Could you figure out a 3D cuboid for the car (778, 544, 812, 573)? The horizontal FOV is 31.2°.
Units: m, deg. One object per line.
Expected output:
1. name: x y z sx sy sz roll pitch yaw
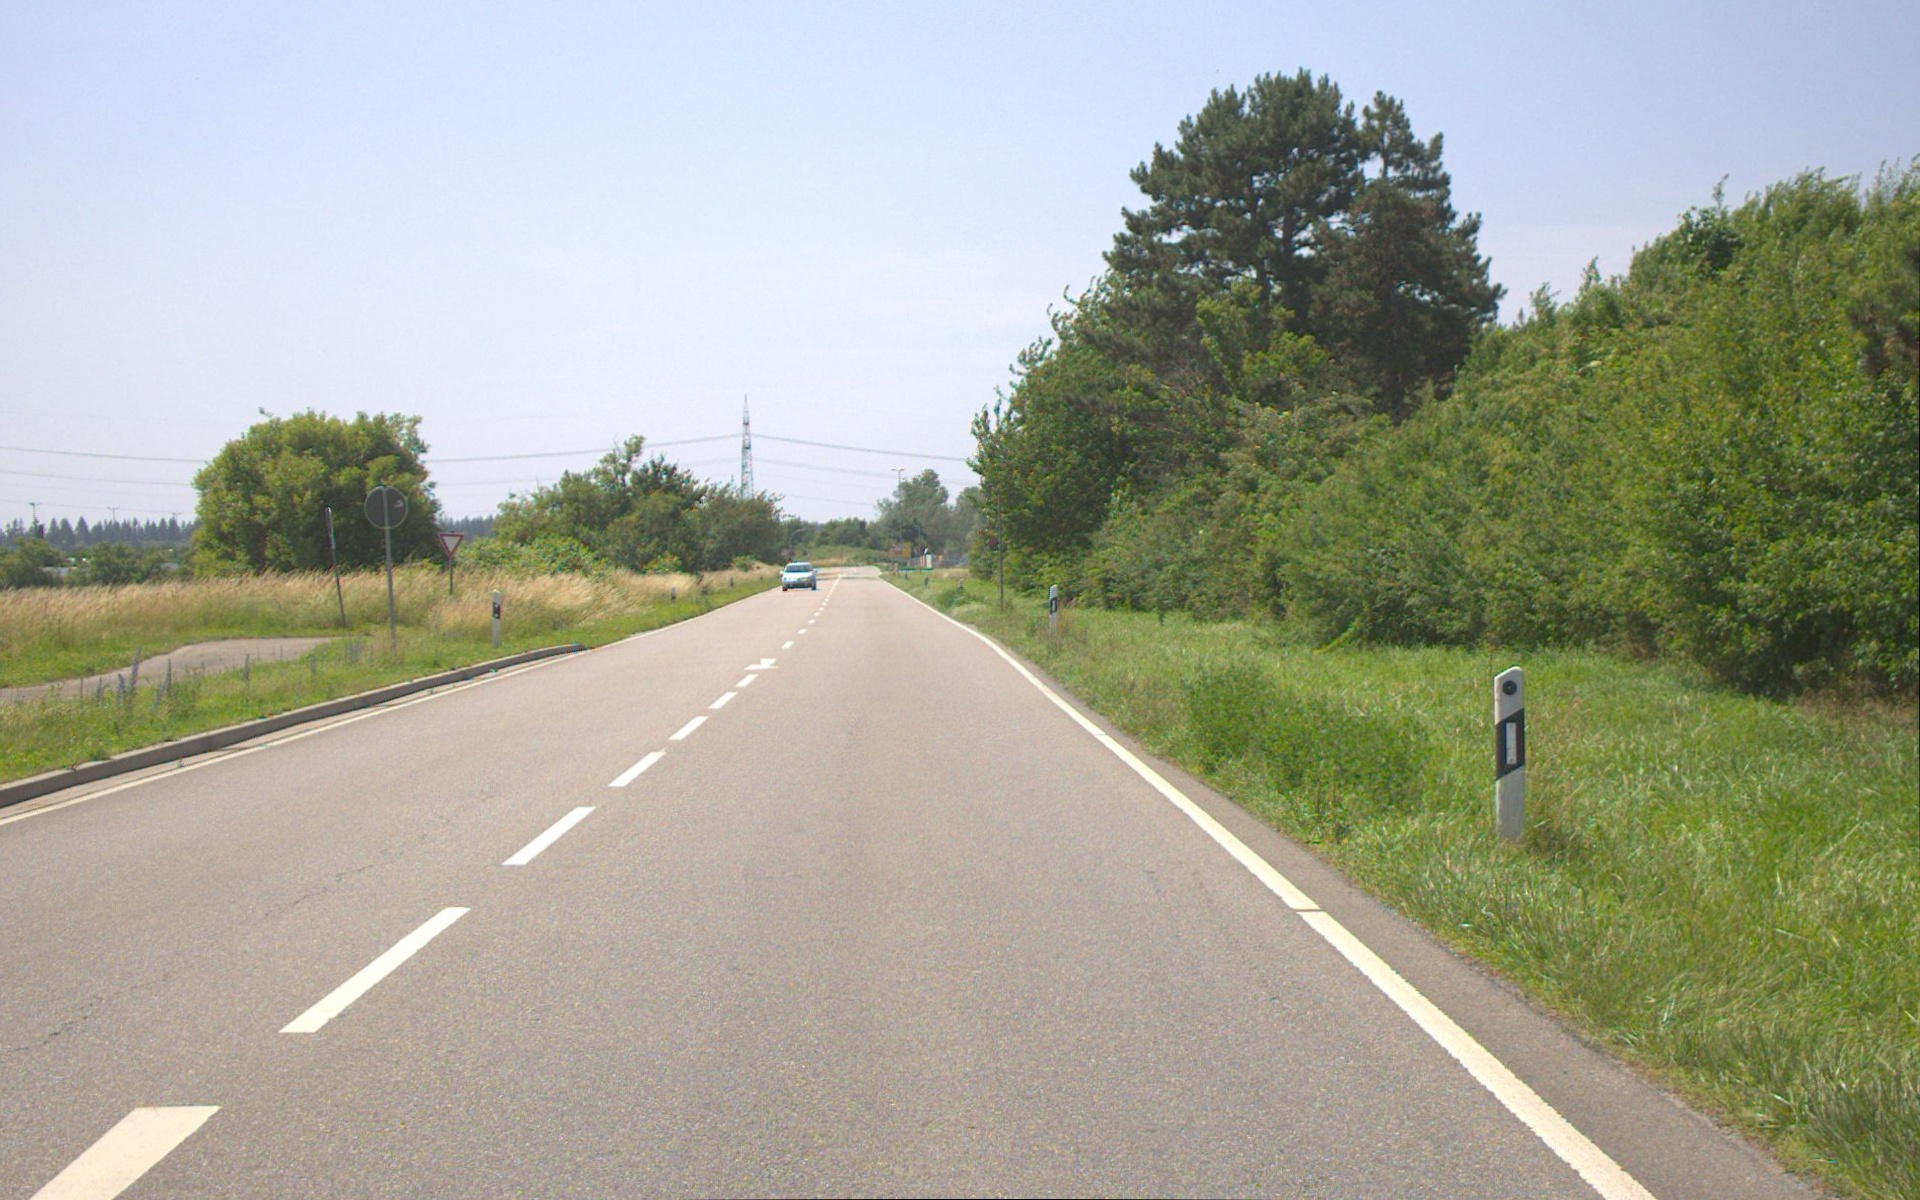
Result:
1. car: -8.650 -2.187 180.832 1.678 1.416 4.422 -3 1 -2
